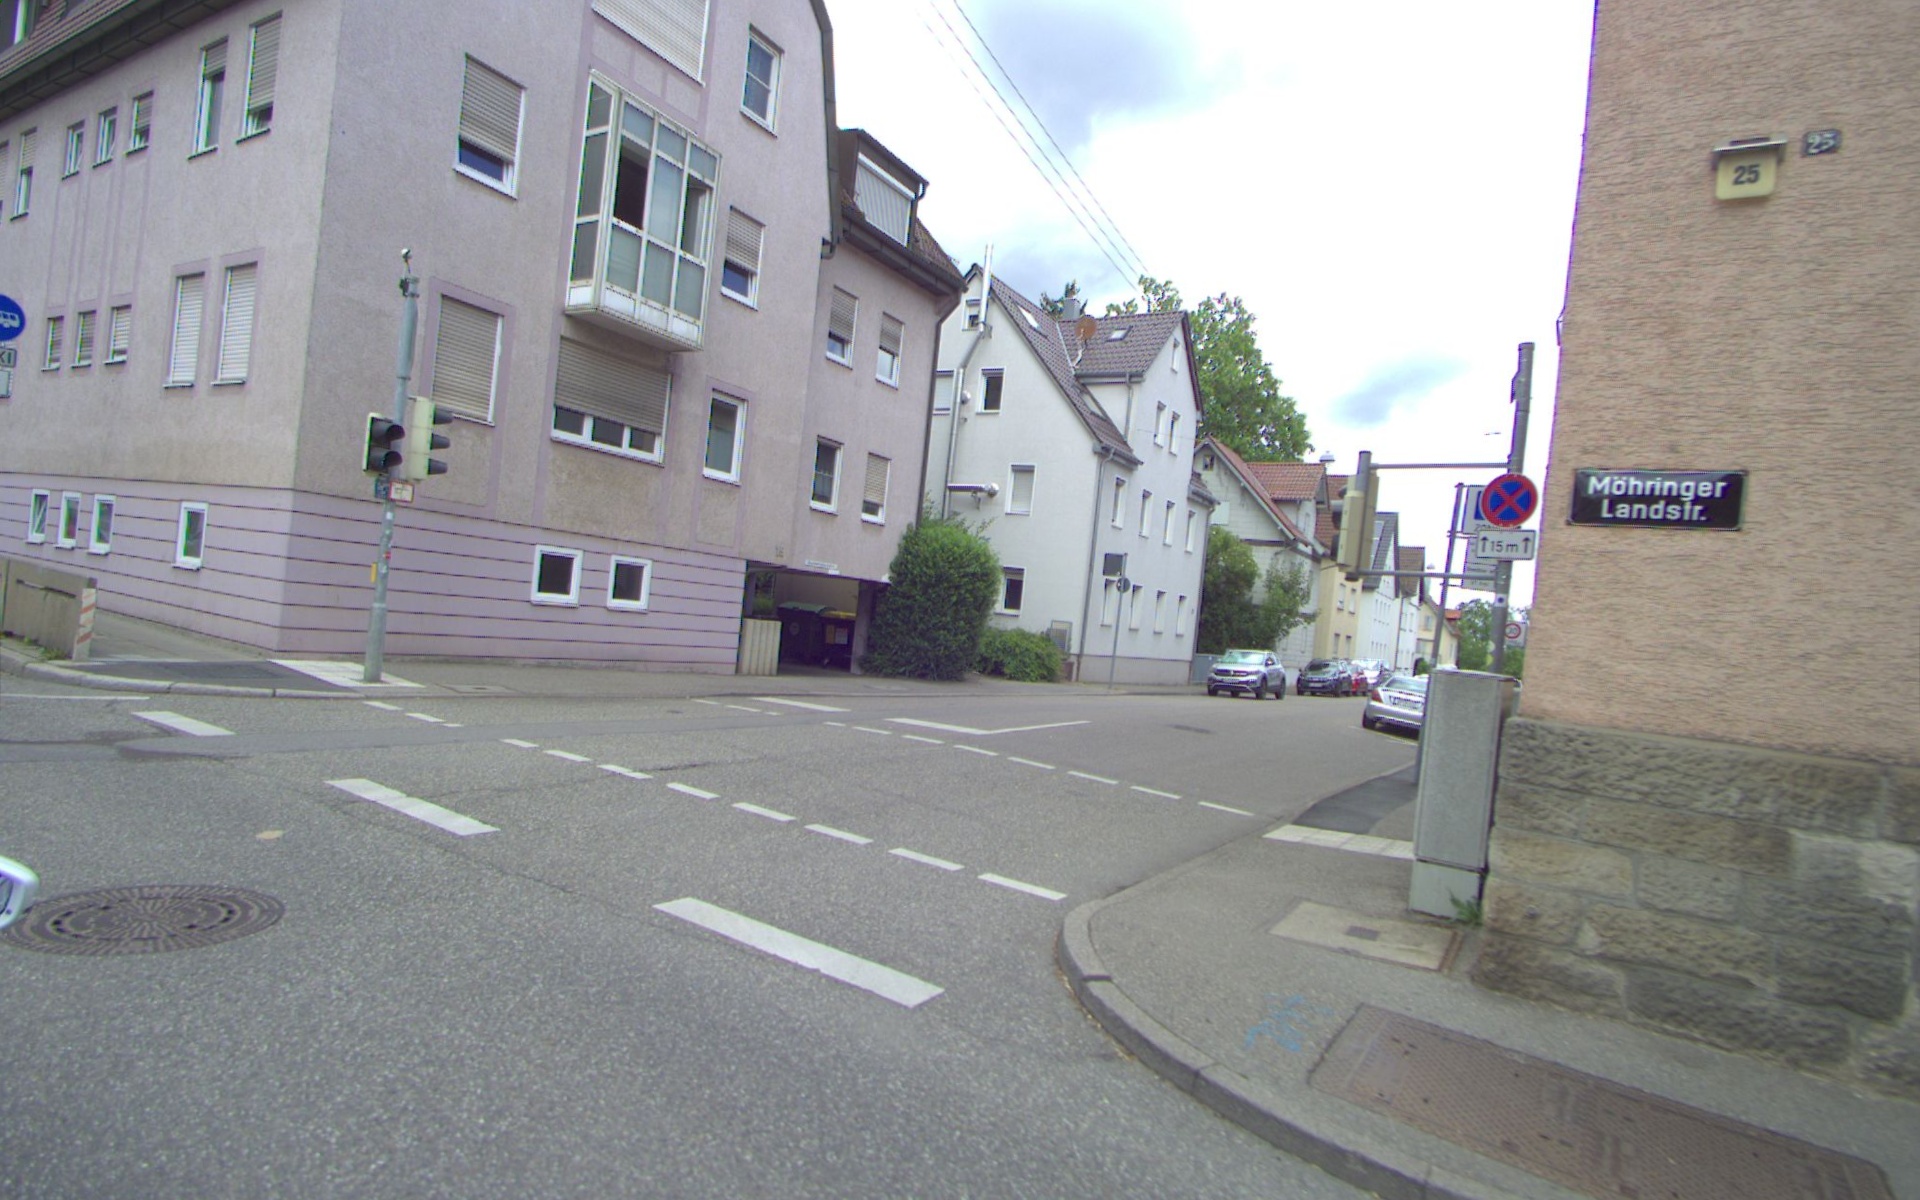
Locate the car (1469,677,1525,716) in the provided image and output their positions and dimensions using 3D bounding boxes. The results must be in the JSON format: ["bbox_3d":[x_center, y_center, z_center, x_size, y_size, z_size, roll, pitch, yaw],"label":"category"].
[{"bbox_3d":[23.937,4.298,44.752,1.847,1.459,3.994,6,-2,32],"label":"car"}]

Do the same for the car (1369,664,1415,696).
[{"bbox_3d":[26.164,4.847,60.833,1.967,1.638,3.995,6,-2,31],"label":"car"}]

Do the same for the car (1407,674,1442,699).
[{"bbox_3d":[33.819,6.316,73.166,1.708,1.478,3.993,6,-2,32],"label":"car"}]

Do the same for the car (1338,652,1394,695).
[{"bbox_3d":[21.044,3.822,52.108,1.967,1.905,3.995,6,-2,31],"label":"car"}]

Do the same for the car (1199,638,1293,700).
[{"bbox_3d":[9.276,2.260,32.428,1.859,1.638,3.995,6,-2,31],"label":"car"}]

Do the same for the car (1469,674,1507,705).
[{"bbox_3d":[33.503,5.705,63.763,1.692,1.658,3.993,6,-2,32],"label":"car"}]

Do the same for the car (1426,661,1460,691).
[{"bbox_3d":[40.365,6.379,84.038,1.967,2.150,3.994,6,-2,31],"label":"car"}]

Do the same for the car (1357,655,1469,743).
[{"bbox_3d":[10.595,2.291,23.354,1.762,1.638,3.994,6,-2,31],"label":"car"}]

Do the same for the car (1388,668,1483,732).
[{"bbox_3d":[12.819,2.679,26.999,1.698,1.385,3.993,6,-2,33],"label":"car"}]

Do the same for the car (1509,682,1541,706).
[{"bbox_3d":[44.945,7.502,80.014,1.967,1.614,3.994,6,-2,31],"label":"car"}]

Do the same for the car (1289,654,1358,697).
[{"bbox_3d":[15.670,3.277,43.296,1.967,1.522,3.995,6,-2,31],"label":"car"}]

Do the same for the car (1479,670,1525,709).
[{"bbox_3d":[29.999,4.982,55.644,1.847,1.872,3.993,6,-2,32],"label":"car"}]
